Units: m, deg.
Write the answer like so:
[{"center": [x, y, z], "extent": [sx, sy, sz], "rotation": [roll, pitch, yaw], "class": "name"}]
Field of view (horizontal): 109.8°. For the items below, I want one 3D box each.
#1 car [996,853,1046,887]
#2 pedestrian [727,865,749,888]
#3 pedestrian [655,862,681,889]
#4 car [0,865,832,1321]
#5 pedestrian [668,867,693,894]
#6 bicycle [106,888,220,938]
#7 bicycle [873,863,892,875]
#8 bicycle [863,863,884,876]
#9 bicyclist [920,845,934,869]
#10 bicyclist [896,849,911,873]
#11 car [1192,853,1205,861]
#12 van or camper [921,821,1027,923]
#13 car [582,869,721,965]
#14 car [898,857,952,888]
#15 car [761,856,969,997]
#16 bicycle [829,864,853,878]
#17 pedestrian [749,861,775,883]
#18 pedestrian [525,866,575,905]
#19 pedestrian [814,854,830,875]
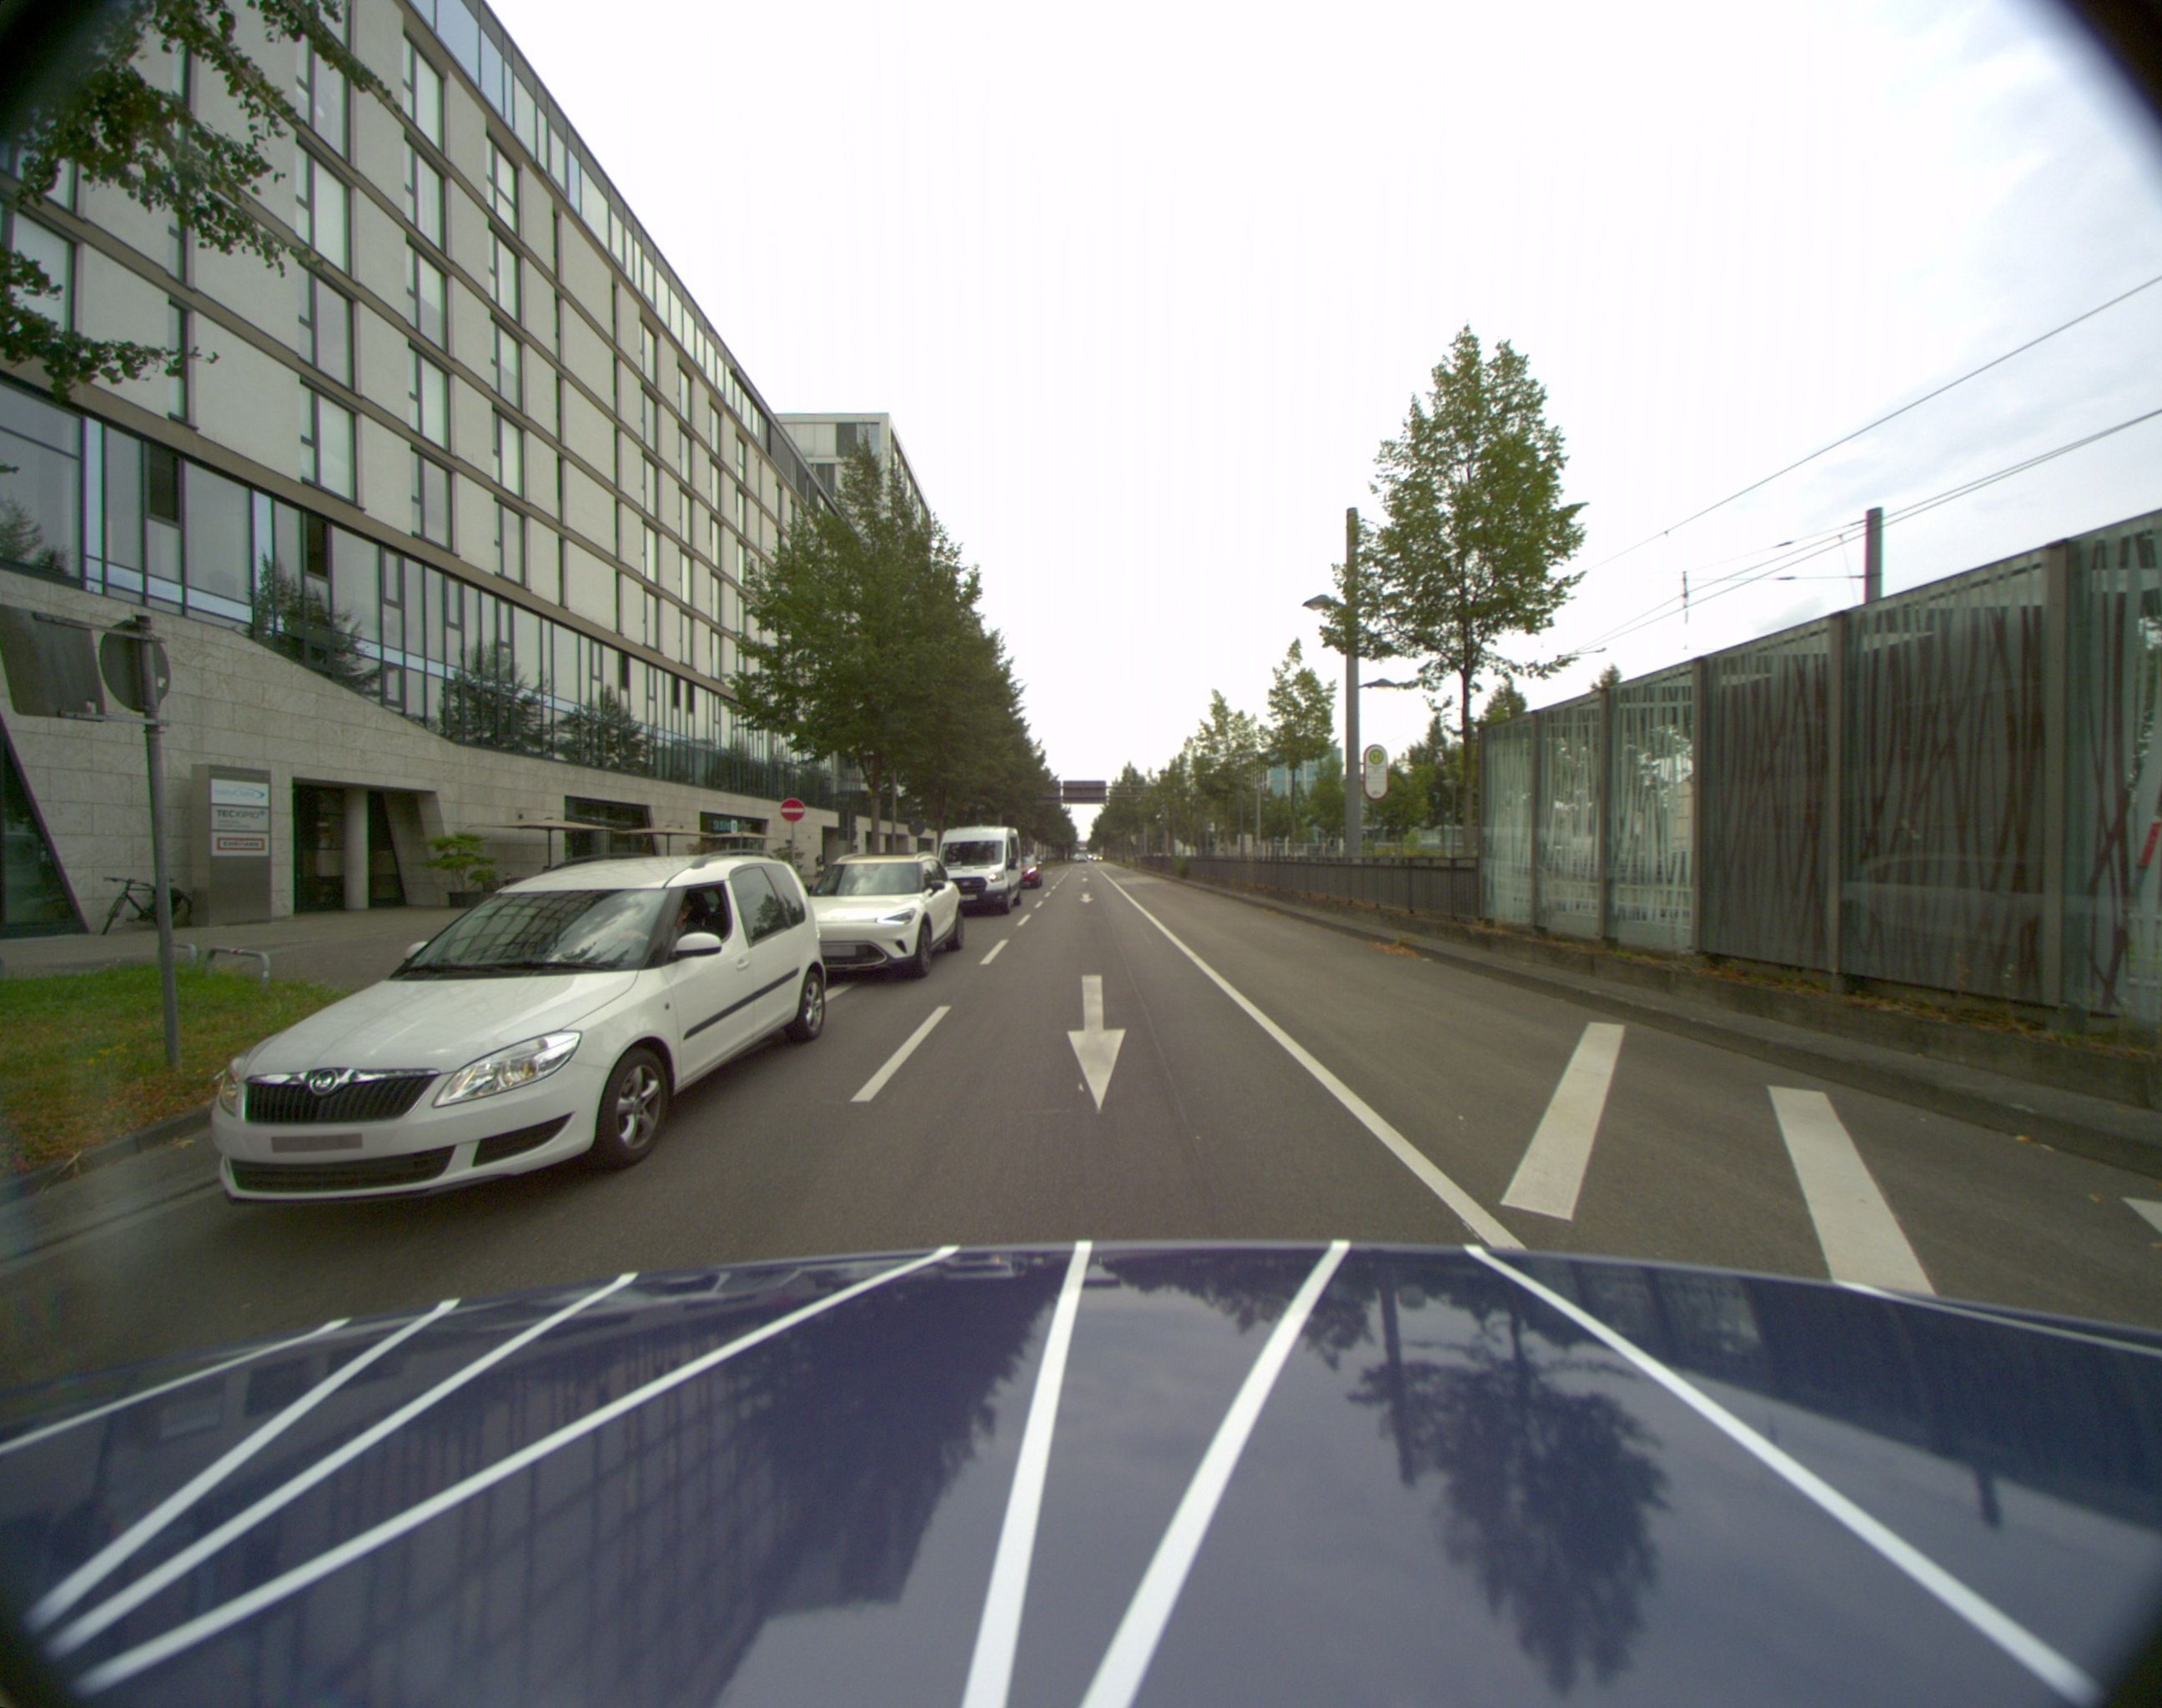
[{"center": [-2.808, 0.748, 36.410], "extent": [1.973, 1.528, 4.139], "rotation": [0, 0, 1], "class": "car"}, {"center": [-17.984, 1.178, 39.798], "extent": [0.719, 1.185, 0.760], "rotation": [0, 0, 22], "class": "pedestrian"}, {"center": [-18.143, 0.930, 33.396], "extent": [0.720, 1.185, 0.759], "rotation": [0, 0, 0], "class": "pedestrian"}, {"center": [-3.169, 0.922, 4.842], "extent": [1.783, 1.647, 4.023], "rotation": [0, 0, 1], "class": "car"}, {"center": [-18.125, 1.192, 34.374], "extent": [0.720, 1.185, 0.759], "rotation": [0, 0, 2], "class": "pedestrian"}, {"center": [-18.787, 1.191, 15.595], "extent": [0.519, 0.905, 1.493], "rotation": [0, 0, 1], "class": "bicycle"}, {"center": [-17.583, 1.334, 67.198], "extent": [1.533, 1.020, 0.533], "rotation": [0, 0, -3], "class": "bicycle"}, {"center": [-17.252, 1.283, 63.328], "extent": [1.602, 1.020, 0.533], "rotation": [0, 0, -3], "class": "bicycle"}, {"center": [-10.315, 0.226, 50.826], "extent": [0.726, 1.573, 0.989], "rotation": [1, 1, -3], "class": "bicyclist"}, {"center": [-11.838, 0.448, 50.660], "extent": [0.726, 1.573, 0.990], "rotation": [1, 1, 3], "class": "bicyclist"}, {"center": [25.397, 0.636, 164.282], "extent": [1.832, 1.646, 4.691], "rotation": [0, 0, -2], "class": "car"}, {"center": [-2.913, 0.469, 22.284], "extent": [2.184, 2.493, 6.339], "rotation": [-2, 0, 0], "class": "van or camper"}, {"center": [-8.539, 1.067, 14.879], "extent": [1.951, 1.467, 4.858], "rotation": [-1, 0, -34], "class": "car"}, {"center": [-8.241, 0.959, 40.585], "extent": [1.943, 1.543, 4.593], "rotation": [-1, 0, 0], "class": "car"}, {"center": [-2.831, 0.856, 10.925], "extent": [1.783, 1.647, 4.023], "rotation": [0, 0, 1], "class": "car"}, {"center": [-17.707, 1.231, 55.970], "extent": [1.605, 1.020, 0.609], "rotation": [0, 0, -27], "class": "bicycle"}, {"center": [-17.337, 0.973, 41.263], "extent": [0.773, 1.185, 1.107], "rotation": [0, 0, 15], "class": "pedestrian"}, {"center": [-17.143, 0.998, 24.533], "extent": [0.899, 1.221, 0.950], "rotation": [0, 0, 5], "class": "pedestrian"}, {"center": [-17.683, 0.715, 51.946], "extent": [0.758, 1.398, 0.721], "rotation": [0, 0, 8], "class": "pedestrian"}]
